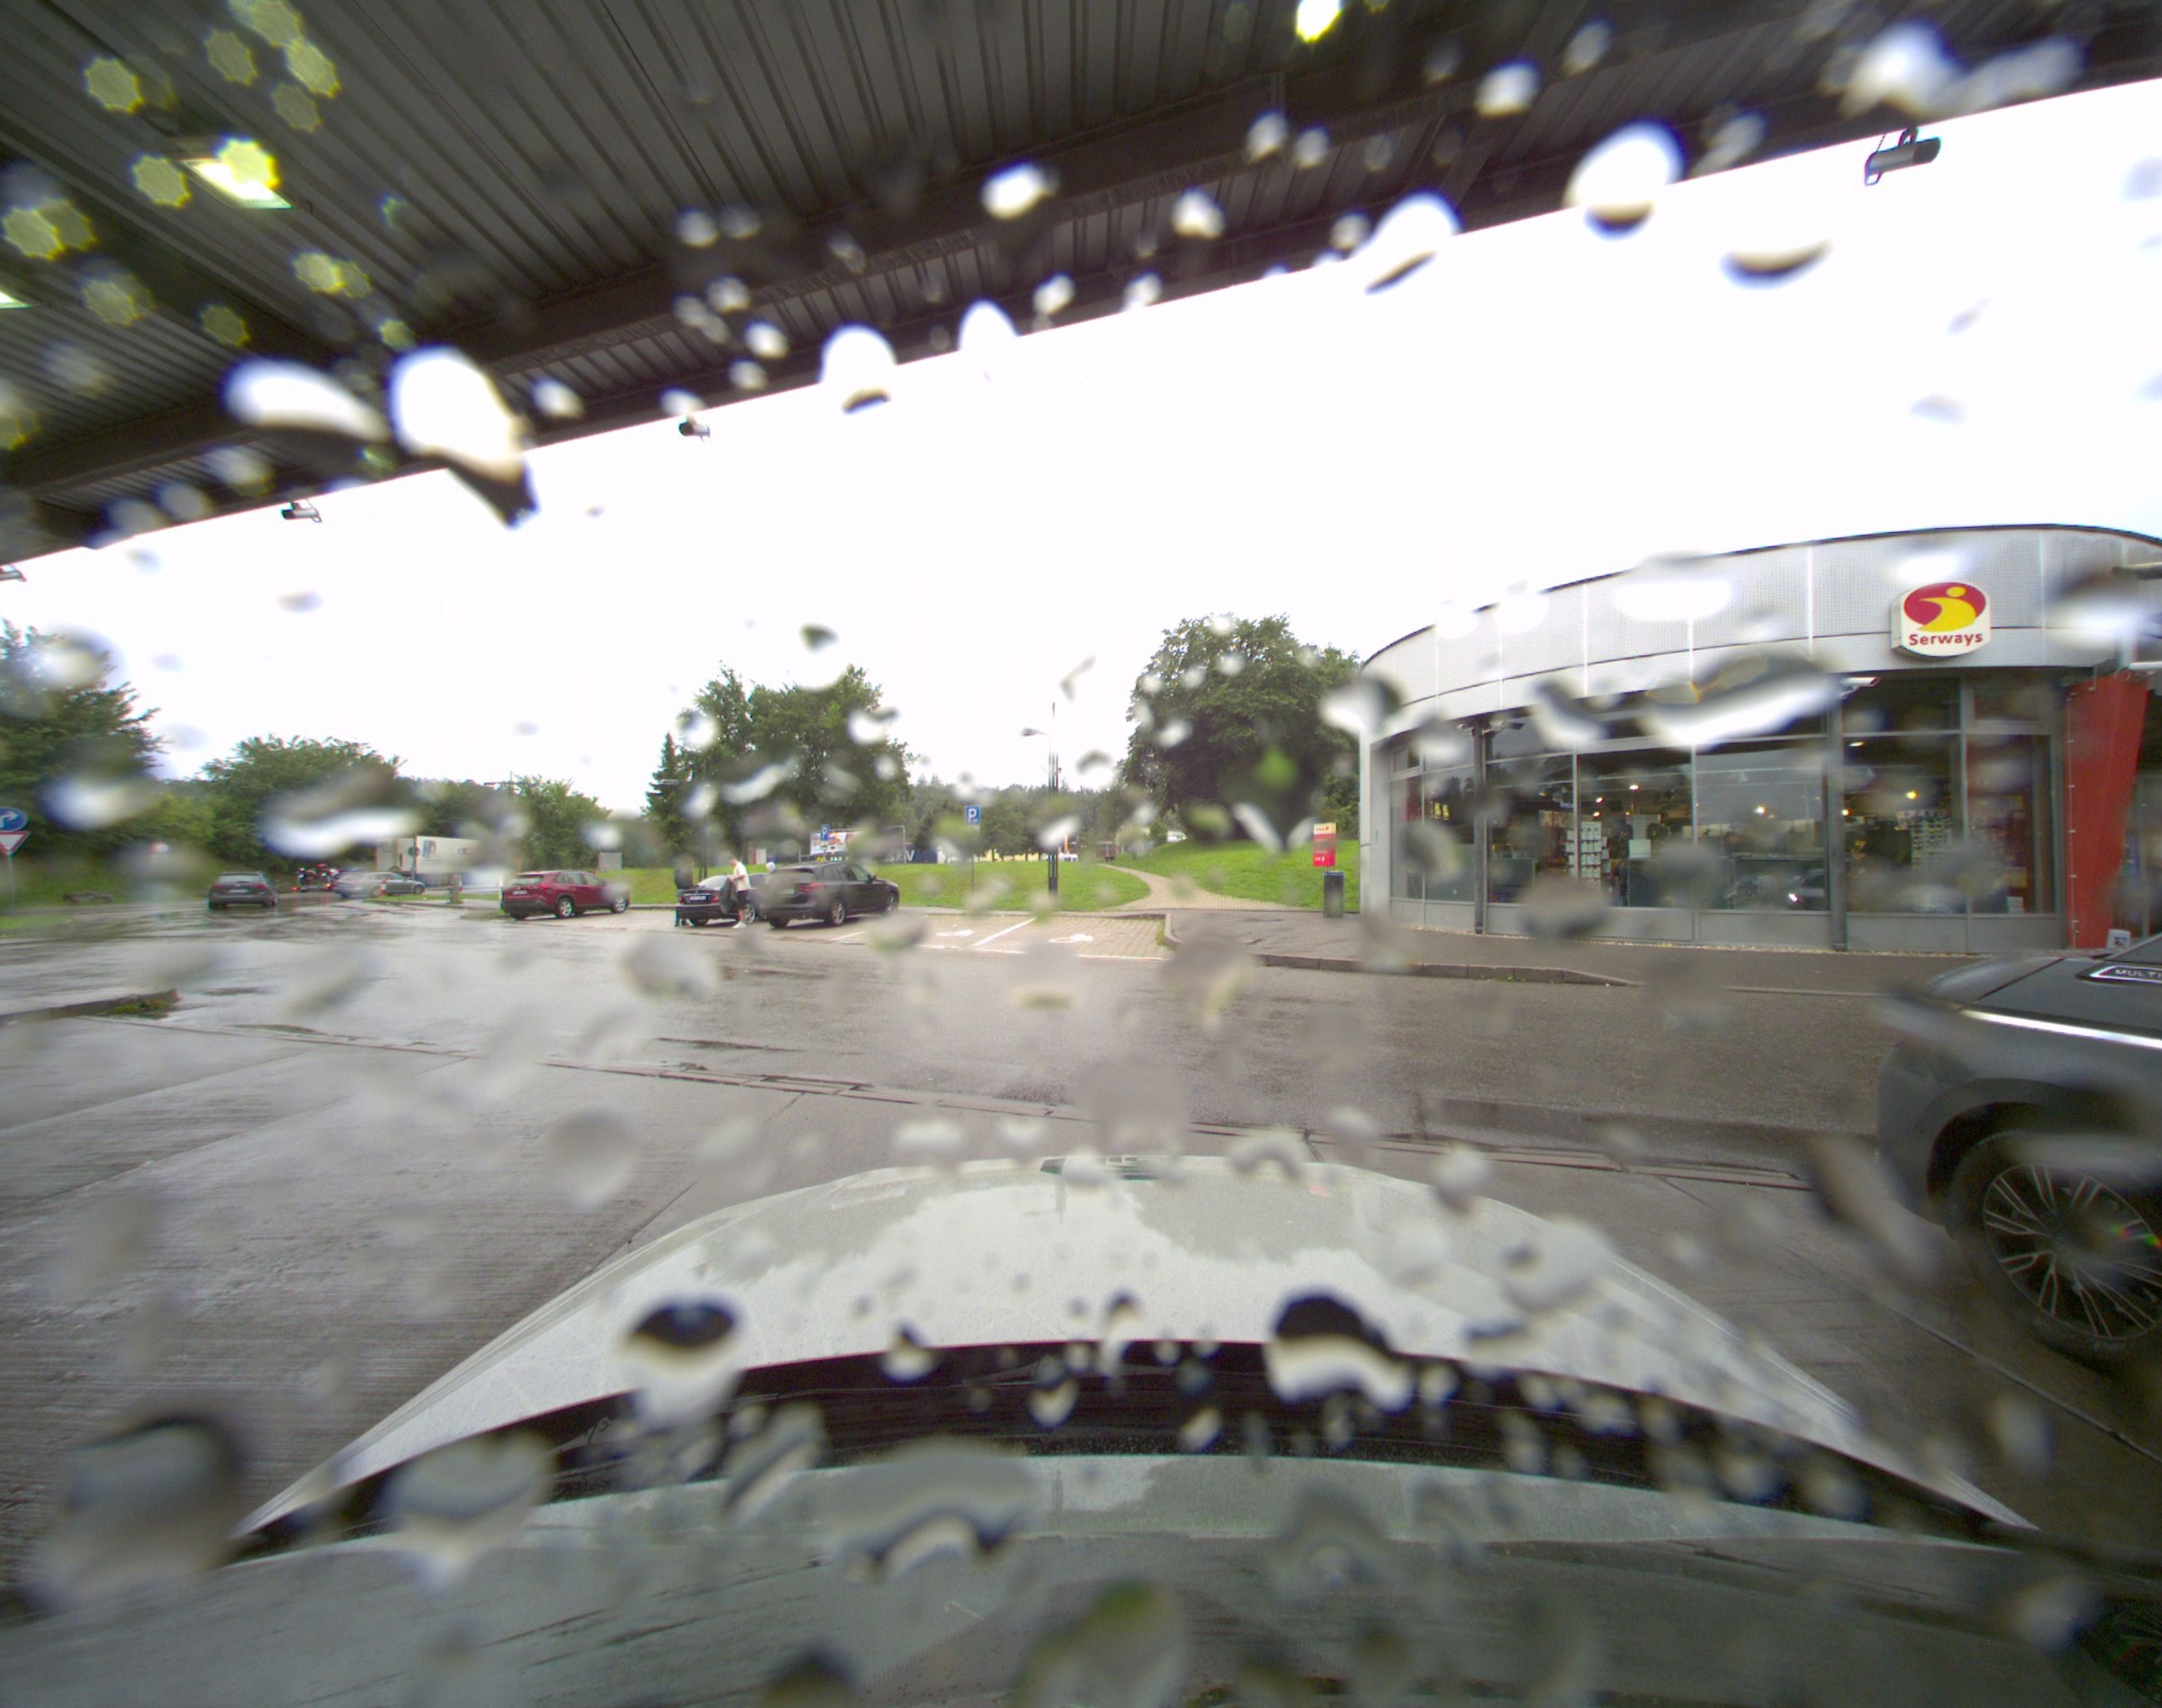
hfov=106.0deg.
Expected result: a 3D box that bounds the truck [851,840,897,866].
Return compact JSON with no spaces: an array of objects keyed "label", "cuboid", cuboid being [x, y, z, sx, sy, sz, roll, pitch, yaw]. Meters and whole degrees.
[{"label":"truck","cuboid":[-24.185,-0.087,95.444,2.165,2.920,5.419,-1,-1,27]}]

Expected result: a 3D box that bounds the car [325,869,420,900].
[{"label":"car","cuboid":[-40.918,1.729,47.140,1.763,1.628,4.006,-1,-1,5]}]

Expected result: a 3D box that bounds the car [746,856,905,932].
[{"label":"car","cuboid":[-6.653,0.972,21.768,2.002,1.711,4.360,-2,0,14]}]

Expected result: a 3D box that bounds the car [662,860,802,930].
[{"label":"car","cuboid":[-9.838,1.083,23.412,2.010,1.711,4.344,-2,0,1]}]

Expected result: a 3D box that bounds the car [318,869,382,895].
[{"label":"car","cuboid":[-50.346,1.878,56.163,1.814,1.681,3.927,0,-1,-18]}]

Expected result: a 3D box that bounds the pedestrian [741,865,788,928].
[{"label":"pedestrian","cuboid":[-8.434,1.111,21.730,0.695,1.631,0.959,-1,-1,22]}]

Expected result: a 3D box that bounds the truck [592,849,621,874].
[{"label":"truck","cuboid":[-59.327,0.940,101.768,2.496,3.085,7.276,0,-1,-36]}]

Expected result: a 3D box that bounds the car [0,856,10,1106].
[{"label":"car","cuboid":[-7.972,0.804,2.664,1.854,1.608,5.273,0,-1,2]}]

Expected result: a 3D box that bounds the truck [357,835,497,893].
[{"label":"truck","cuboid":[-55.446,0.838,69.967,3.550,4.340,16.899,0,-1,-18]}]

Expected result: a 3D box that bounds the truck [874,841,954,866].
[{"label":"truck","cuboid":[-20.753,-0.055,102.335,2.165,2.920,13.175,-1,-1,26]}]

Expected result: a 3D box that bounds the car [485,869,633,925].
[{"label":"car","cuboid":[-18.140,1.442,28.581,1.928,1.644,4.352,-2,0,7]}]

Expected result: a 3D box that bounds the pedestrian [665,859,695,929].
[{"label":"pedestrian","cuboid":[-11.089,1.075,22.510,0.706,1.887,0.885,0,-1,-30]}]

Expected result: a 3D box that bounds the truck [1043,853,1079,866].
[{"label":"truck","cuboid":[-3.247,0.878,134.093,5.356,2.014,2.381,-1,-1,26]}]

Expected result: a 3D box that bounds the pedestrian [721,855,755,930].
[{"label":"pedestrian","cuboid":[-8.932,0.984,21.200,0.706,1.887,0.944,0,-1,-31]}]

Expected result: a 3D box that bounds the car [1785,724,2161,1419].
[{"label":"car","cuboid":[3.669,0.545,0.665,1.854,1.798,5.142,0,-1,2]}]

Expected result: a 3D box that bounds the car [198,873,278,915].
[{"label":"car","cuboid":[-37.376,1.737,36.211,2.010,1.678,3.953,0,-1,-40]}]
